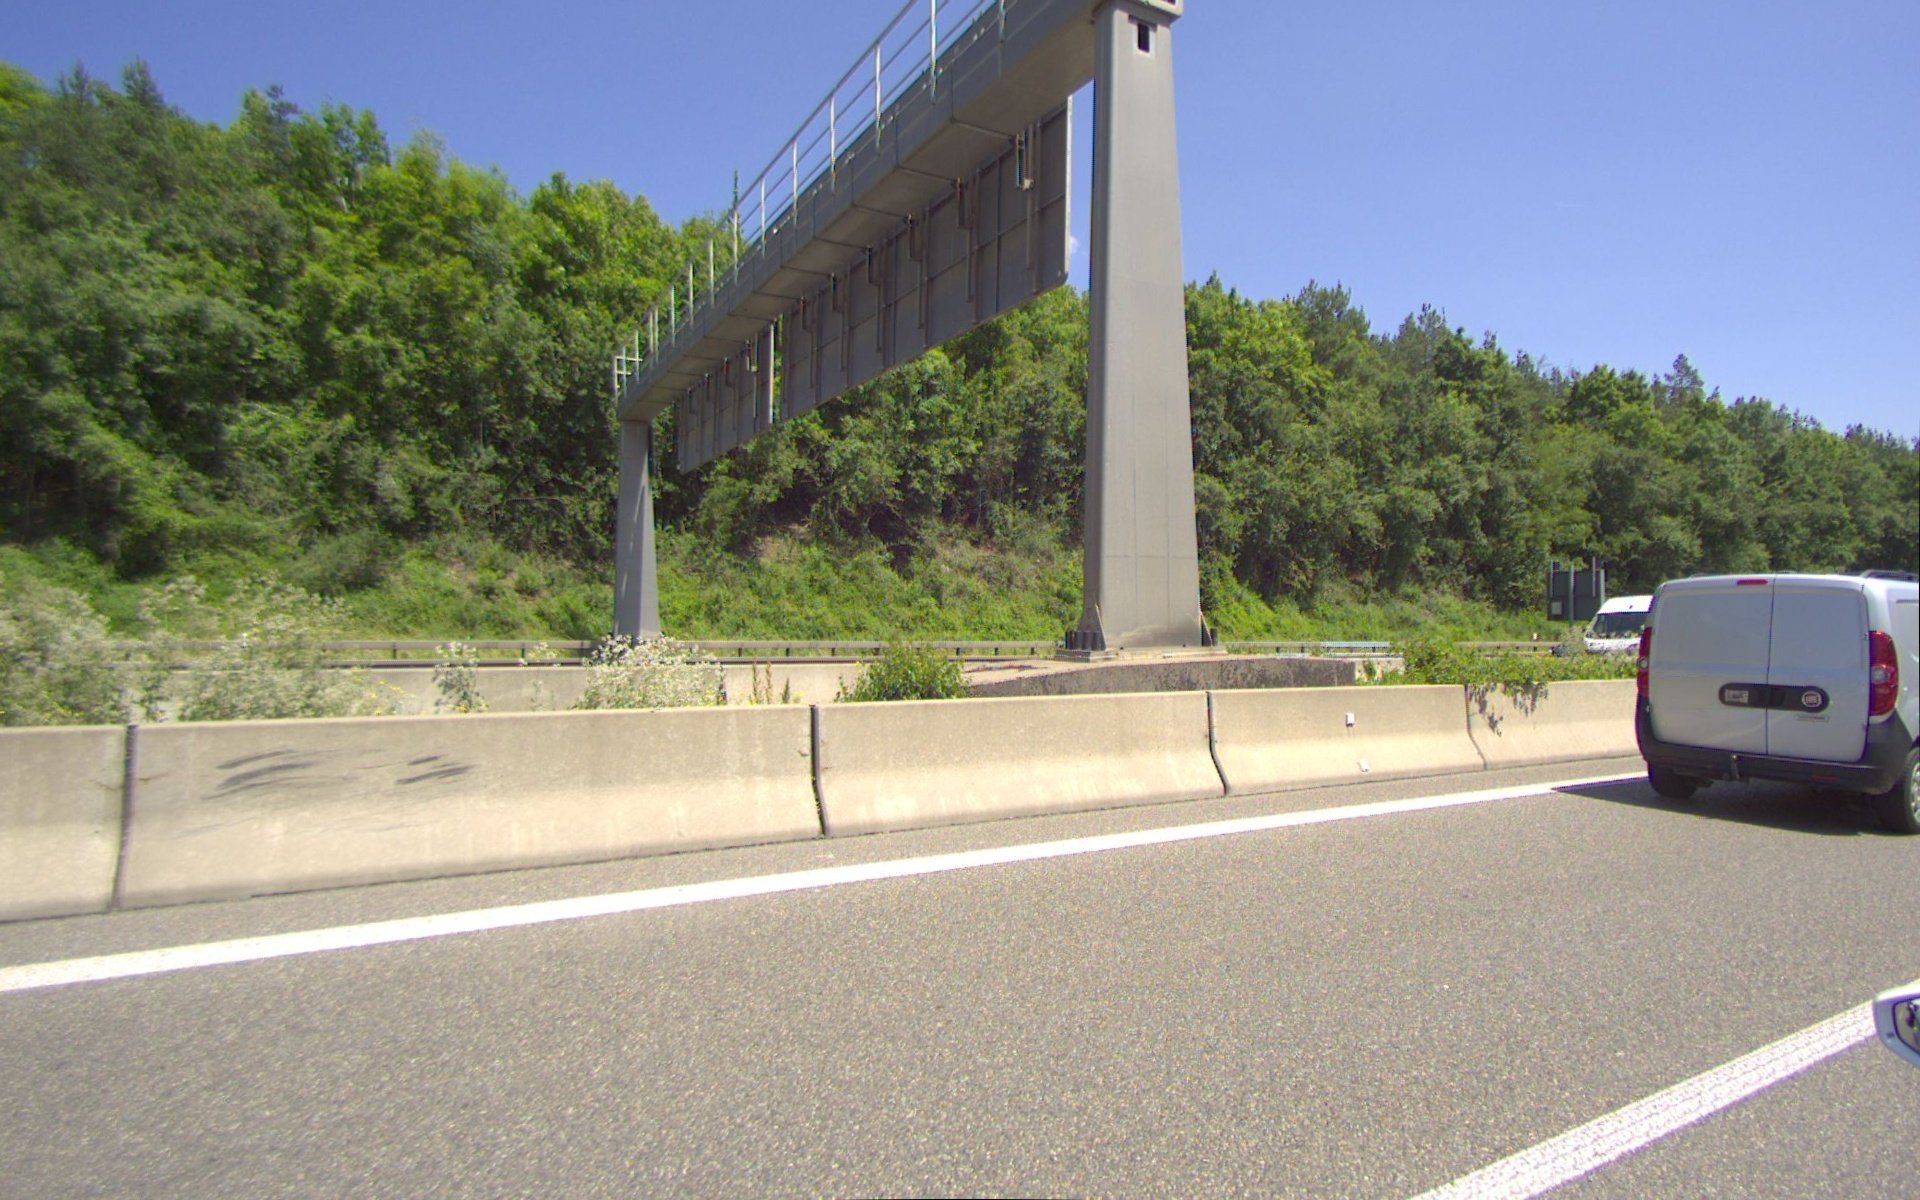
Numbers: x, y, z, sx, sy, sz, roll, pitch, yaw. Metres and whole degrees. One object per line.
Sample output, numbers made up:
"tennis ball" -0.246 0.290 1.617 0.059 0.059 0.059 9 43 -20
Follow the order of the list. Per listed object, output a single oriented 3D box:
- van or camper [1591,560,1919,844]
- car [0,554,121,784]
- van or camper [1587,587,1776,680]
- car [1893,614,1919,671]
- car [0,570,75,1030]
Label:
"van or camper" 7.657 0.726 8.686 4.508 1.905 1.844 1 0 -30
"car" -9.282 0.418 7.356 4.463 1.714 1.983 3 -1 -31
"van or camper" 21.186 1.007 29.394 6.124 2.454 2.142 3 -1 -30
"car" 35.969 1.556 36.384 4.220 2.040 1.984 1 0 -30
"car" -4.982 0.607 1.913 4.622 1.469 1.865 1 0 -30
